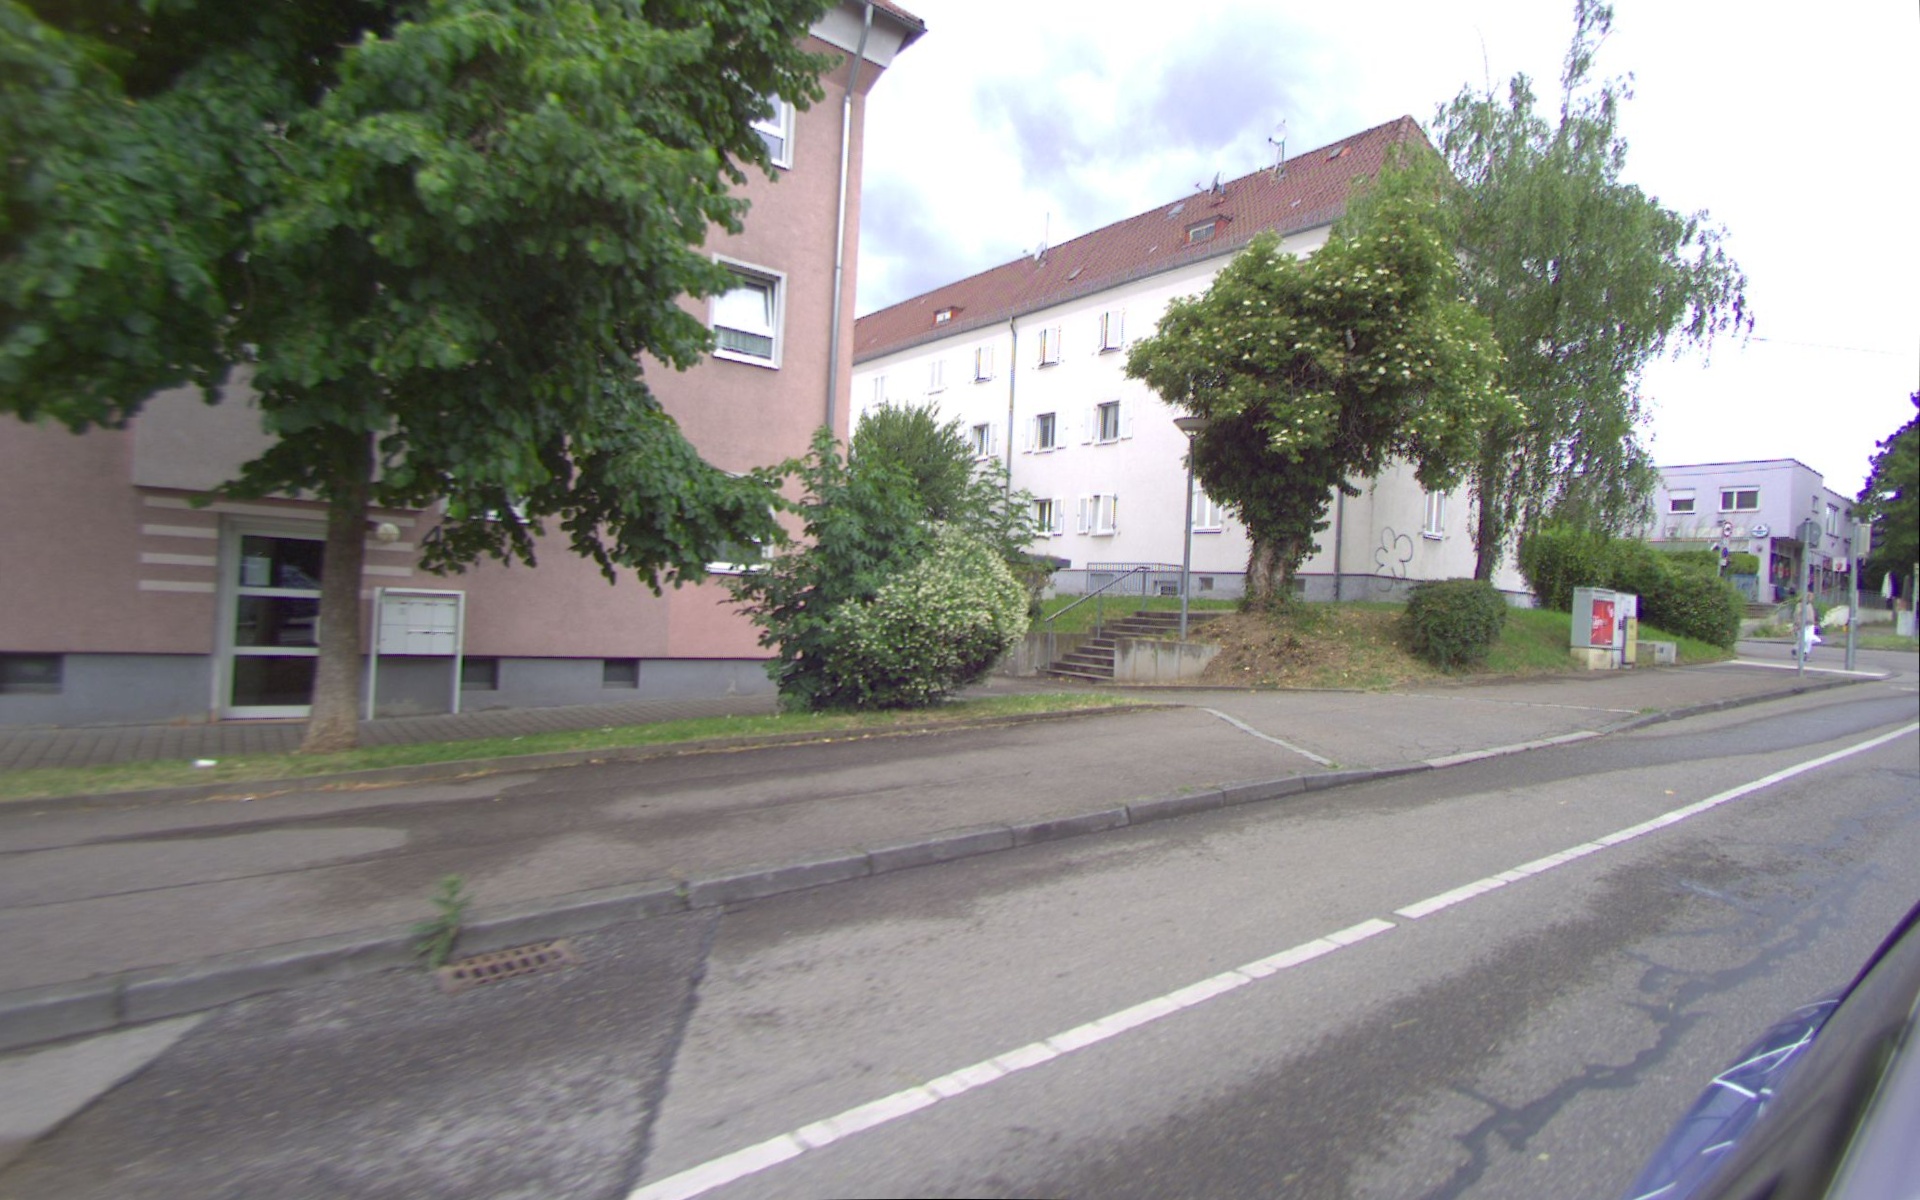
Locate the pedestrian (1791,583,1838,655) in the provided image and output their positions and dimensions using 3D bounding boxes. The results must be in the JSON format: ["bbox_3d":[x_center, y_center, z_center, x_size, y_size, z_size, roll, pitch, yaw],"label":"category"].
[{"bbox_3d":[21.031,0.468,24.913,0.564,1.706,0.659,4,1,-37],"label":"pedestrian"}]
